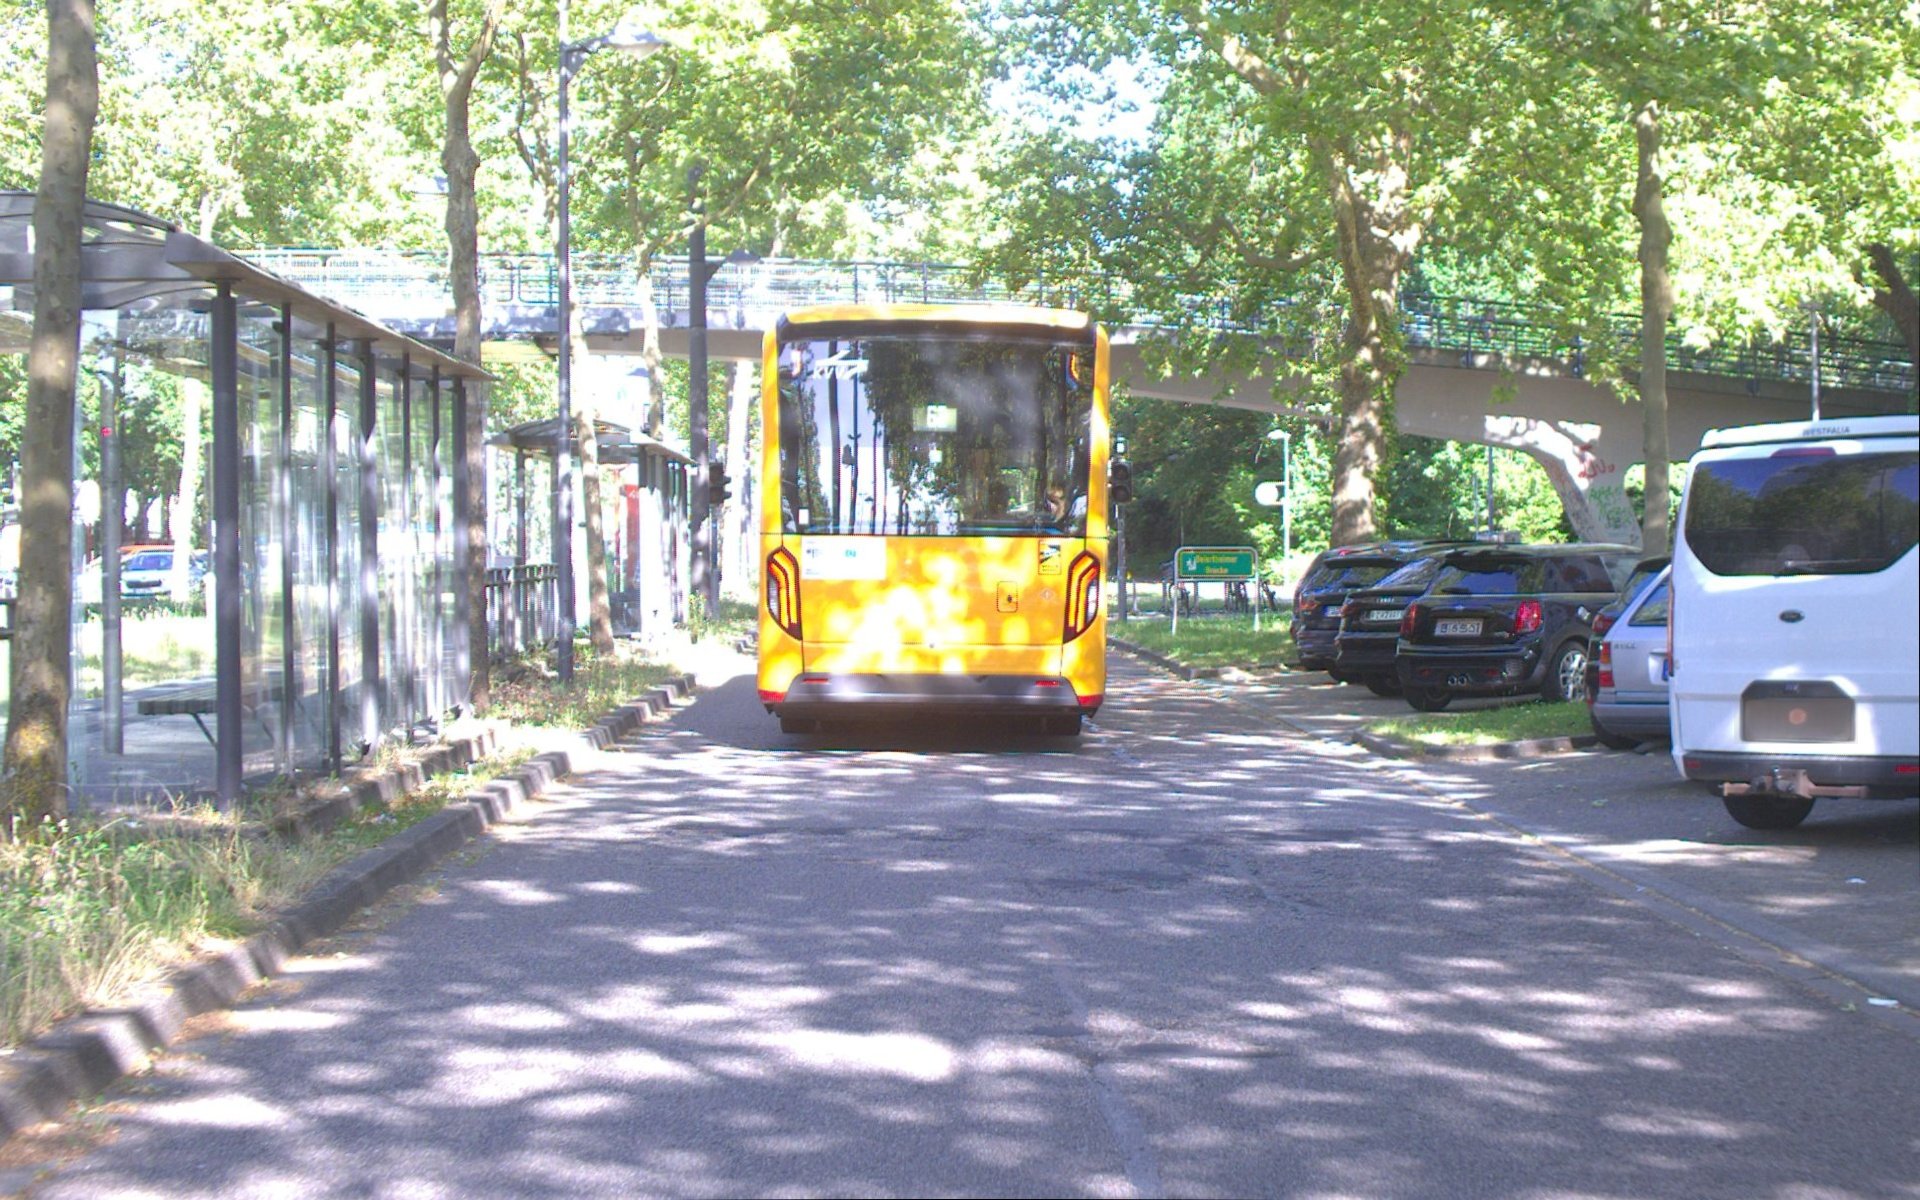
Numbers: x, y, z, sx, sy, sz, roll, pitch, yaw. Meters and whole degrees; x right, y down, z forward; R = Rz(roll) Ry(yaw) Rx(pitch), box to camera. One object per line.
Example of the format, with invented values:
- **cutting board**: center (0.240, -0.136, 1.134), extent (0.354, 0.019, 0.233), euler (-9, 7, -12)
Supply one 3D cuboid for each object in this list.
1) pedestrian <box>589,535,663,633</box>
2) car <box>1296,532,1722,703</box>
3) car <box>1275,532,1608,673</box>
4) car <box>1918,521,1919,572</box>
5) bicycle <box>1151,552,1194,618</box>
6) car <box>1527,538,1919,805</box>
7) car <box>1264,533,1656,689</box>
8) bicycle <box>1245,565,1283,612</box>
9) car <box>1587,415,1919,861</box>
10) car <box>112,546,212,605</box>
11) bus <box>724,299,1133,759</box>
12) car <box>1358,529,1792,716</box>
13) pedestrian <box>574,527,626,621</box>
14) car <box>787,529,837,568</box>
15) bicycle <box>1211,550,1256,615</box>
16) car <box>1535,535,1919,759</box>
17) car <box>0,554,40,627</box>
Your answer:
- **pedestrian**: center (-4.349, -0.214, 44.776), extent (0.855, 1.239, 0.850), euler (1, 1, 1)
- **car**: center (5.472, 0.148, 33.961), extent (4.245, 1.456, 1.799), euler (-3, 1, -41)
- **car**: center (5.703, 0.015, 40.457), extent (1.799, 1.456, 3.990), euler (-2, 1, 45)
- **car**: center (6.091, 0.356, 14.982), extent (4.047, 1.575, 1.832), euler (-3, 1, -44)
- **bicycle**: center (4.074, -0.293, 66.007), extent (0.590, 1.179, 1.800), euler (-3, 2, -2)
- **car**: center (5.710, 0.355, 21.402), extent (4.578, 1.419, 1.799), euler (-3, 1, -42)
- **car**: center (5.430, 0.100, 37.035), extent (4.245, 1.456, 1.799), euler (-3, 1, -41)
- **bicycle**: center (5.821, -0.226, 65.937), extent (0.505, 0.849, 1.474), euler (-3, 2, -2)
- **car**: center (5.557, 0.093, 17.910), extent (4.577, 2.045, 2.017), euler (-3, 1, -41)
- **car**: center (-21.786, -0.695, 93.985), extent (1.794, 1.575, 4.288), euler (0, 1, -1)
- **bus**: center (-0.439, -0.594, 30.517), extent (2.899, 3.255, 12.219), euler (0, 1, -2)
- **car**: center (5.574, 0.179, 30.901), extent (3.989, 1.463, 1.781), euler (-3, 1, -44)
- **pedestrian**: center (-5.444, -0.396, 52.010), extent (0.724, 1.412, 0.682), euler (1, 1, -1)
- **car**: center (-6.657, -2.336, 154.904), extent (1.986, 1.637, 4.134), euler (3, 2, 0)
- **bicycle**: center (5.245, -0.350, 65.976), extent (0.590, 1.179, 1.800), euler (-3, 2, -2)
- **car**: center (6.089, 0.285, 24.815), extent (3.913, 1.412, 1.799), euler (-3, 1, -44)
- **car**: center (-21.484, -0.225, 74.732), extent (1.794, 1.561, 4.288), euler (-1, 1, -30)
